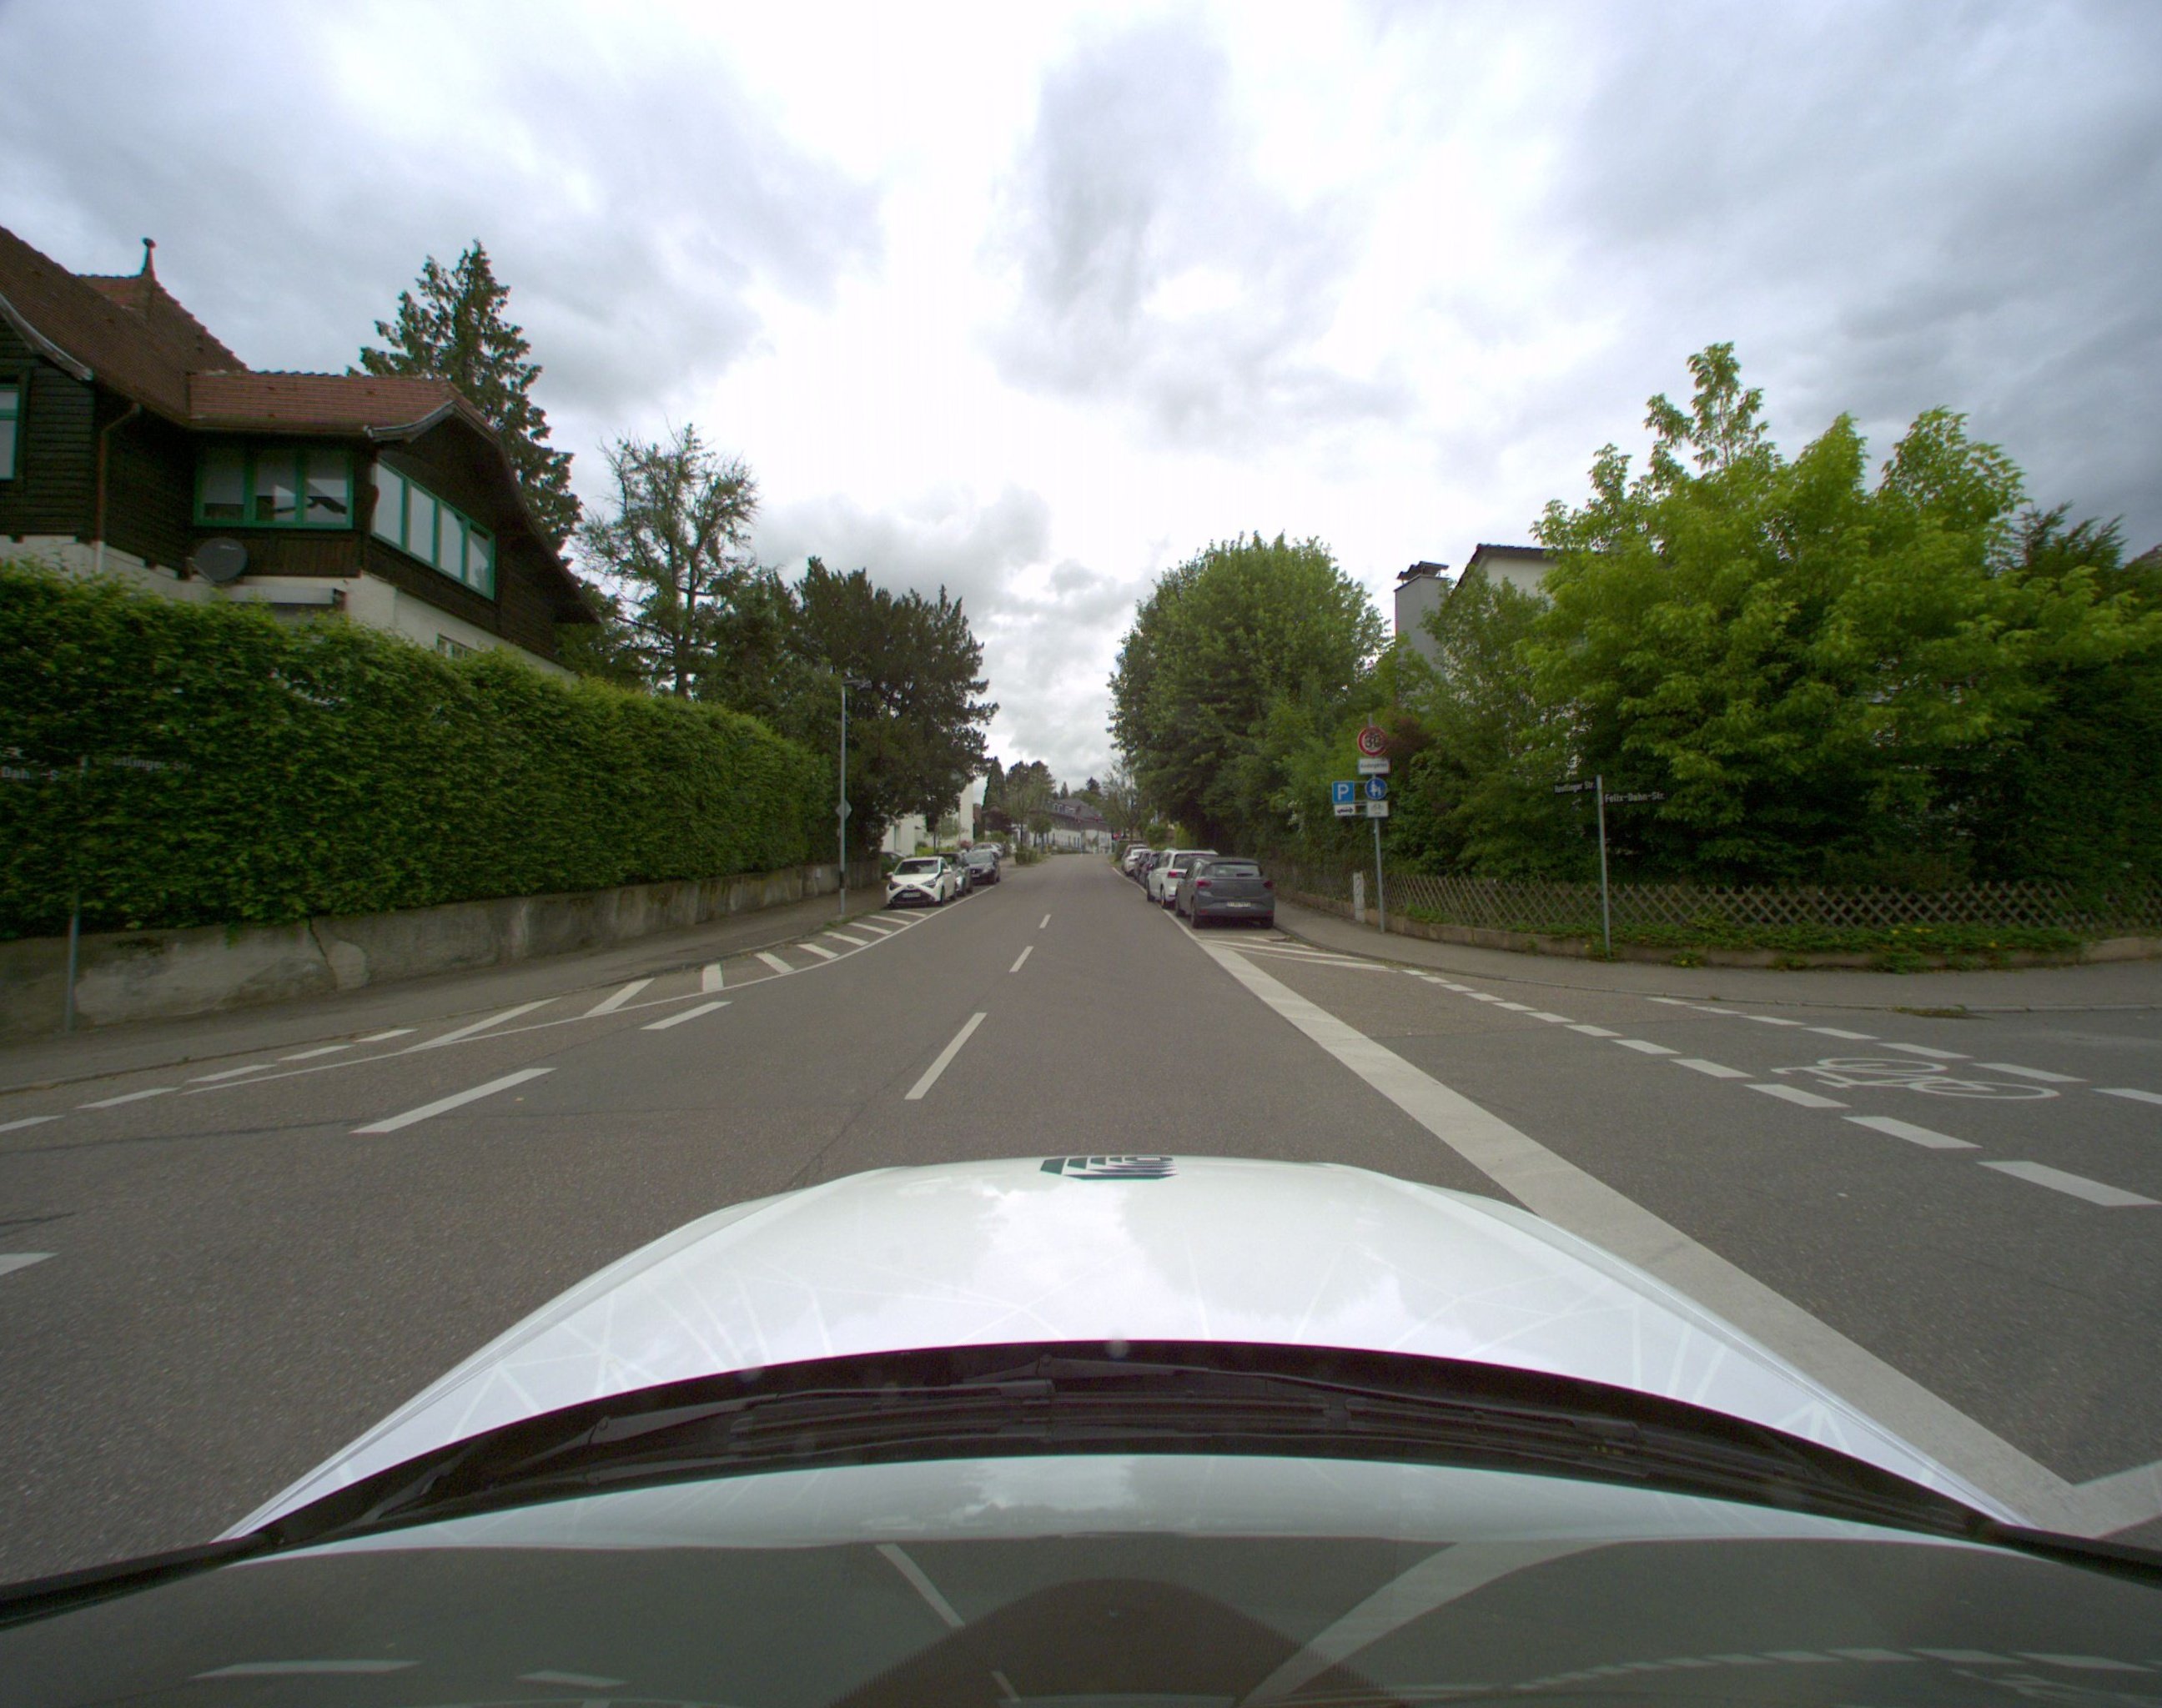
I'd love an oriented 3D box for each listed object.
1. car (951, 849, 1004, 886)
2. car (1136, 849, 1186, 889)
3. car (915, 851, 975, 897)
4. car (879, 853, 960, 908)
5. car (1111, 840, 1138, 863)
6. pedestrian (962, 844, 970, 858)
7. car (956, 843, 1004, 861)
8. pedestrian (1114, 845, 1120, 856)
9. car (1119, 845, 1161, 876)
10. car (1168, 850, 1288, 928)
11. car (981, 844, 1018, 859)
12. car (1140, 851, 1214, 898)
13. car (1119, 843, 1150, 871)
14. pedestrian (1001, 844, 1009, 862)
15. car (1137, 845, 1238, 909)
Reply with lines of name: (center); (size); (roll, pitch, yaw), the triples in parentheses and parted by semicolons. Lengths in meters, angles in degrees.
car: (-4.596, 0.547, 36.766); (1.845, 1.469, 4.681); (-2, 1, -1)
car: (3.226, 0.558, 33.586); (1.692, 1.508, 4.161); (1, 1, 1)
car: (-4.765, 0.660, 28.932); (1.619, 1.519, 2.974); (-1, 0, -1)
car: (-4.824, 0.743, 24.727); (1.739, 1.448, 3.513); (-1, 1, 0)
car: (3.542, -0.243, 66.974); (1.929, 1.837, 5.220); (-1, 1, 1)
pedestrian: (-10.694, -0.297, 76.029); (0.605, 1.283, 0.899); (0, 0, 0)
car: (-9.659, -0.172, 78.218); (4.374, 1.566, 2.065); (-2, 1, -1)
pedestrian: (5.778, -0.563, 129.475); (0.677, 1.682, 0.705); (-1, 0, 33)
car: (3.167, 0.326, 44.365); (1.986, 1.491, 5.006); (-2, 1, 1)
car: (3.266, 0.710, 18.996); (1.932, 1.491, 4.455); (-2, 1, -1)
car: (-9.658, -0.259, 97.057); (4.250, 1.623, 2.012); (-2, -1, -3)
car: (3.267, 0.640, 28.612); (1.806, 1.452, 4.373); (-2, 1, -4)
car: (3.280, 0.143, 50.666); (1.711, 1.632, 3.929); (1, 1, 1)
pedestrian: (-7.162, -0.102, 76.922); (0.591, 1.640, 0.565); (-2, 0, 1)
car: (2.999, 0.570, 23.939); (1.997, 1.608, 4.752); (-2, 1, -4)
